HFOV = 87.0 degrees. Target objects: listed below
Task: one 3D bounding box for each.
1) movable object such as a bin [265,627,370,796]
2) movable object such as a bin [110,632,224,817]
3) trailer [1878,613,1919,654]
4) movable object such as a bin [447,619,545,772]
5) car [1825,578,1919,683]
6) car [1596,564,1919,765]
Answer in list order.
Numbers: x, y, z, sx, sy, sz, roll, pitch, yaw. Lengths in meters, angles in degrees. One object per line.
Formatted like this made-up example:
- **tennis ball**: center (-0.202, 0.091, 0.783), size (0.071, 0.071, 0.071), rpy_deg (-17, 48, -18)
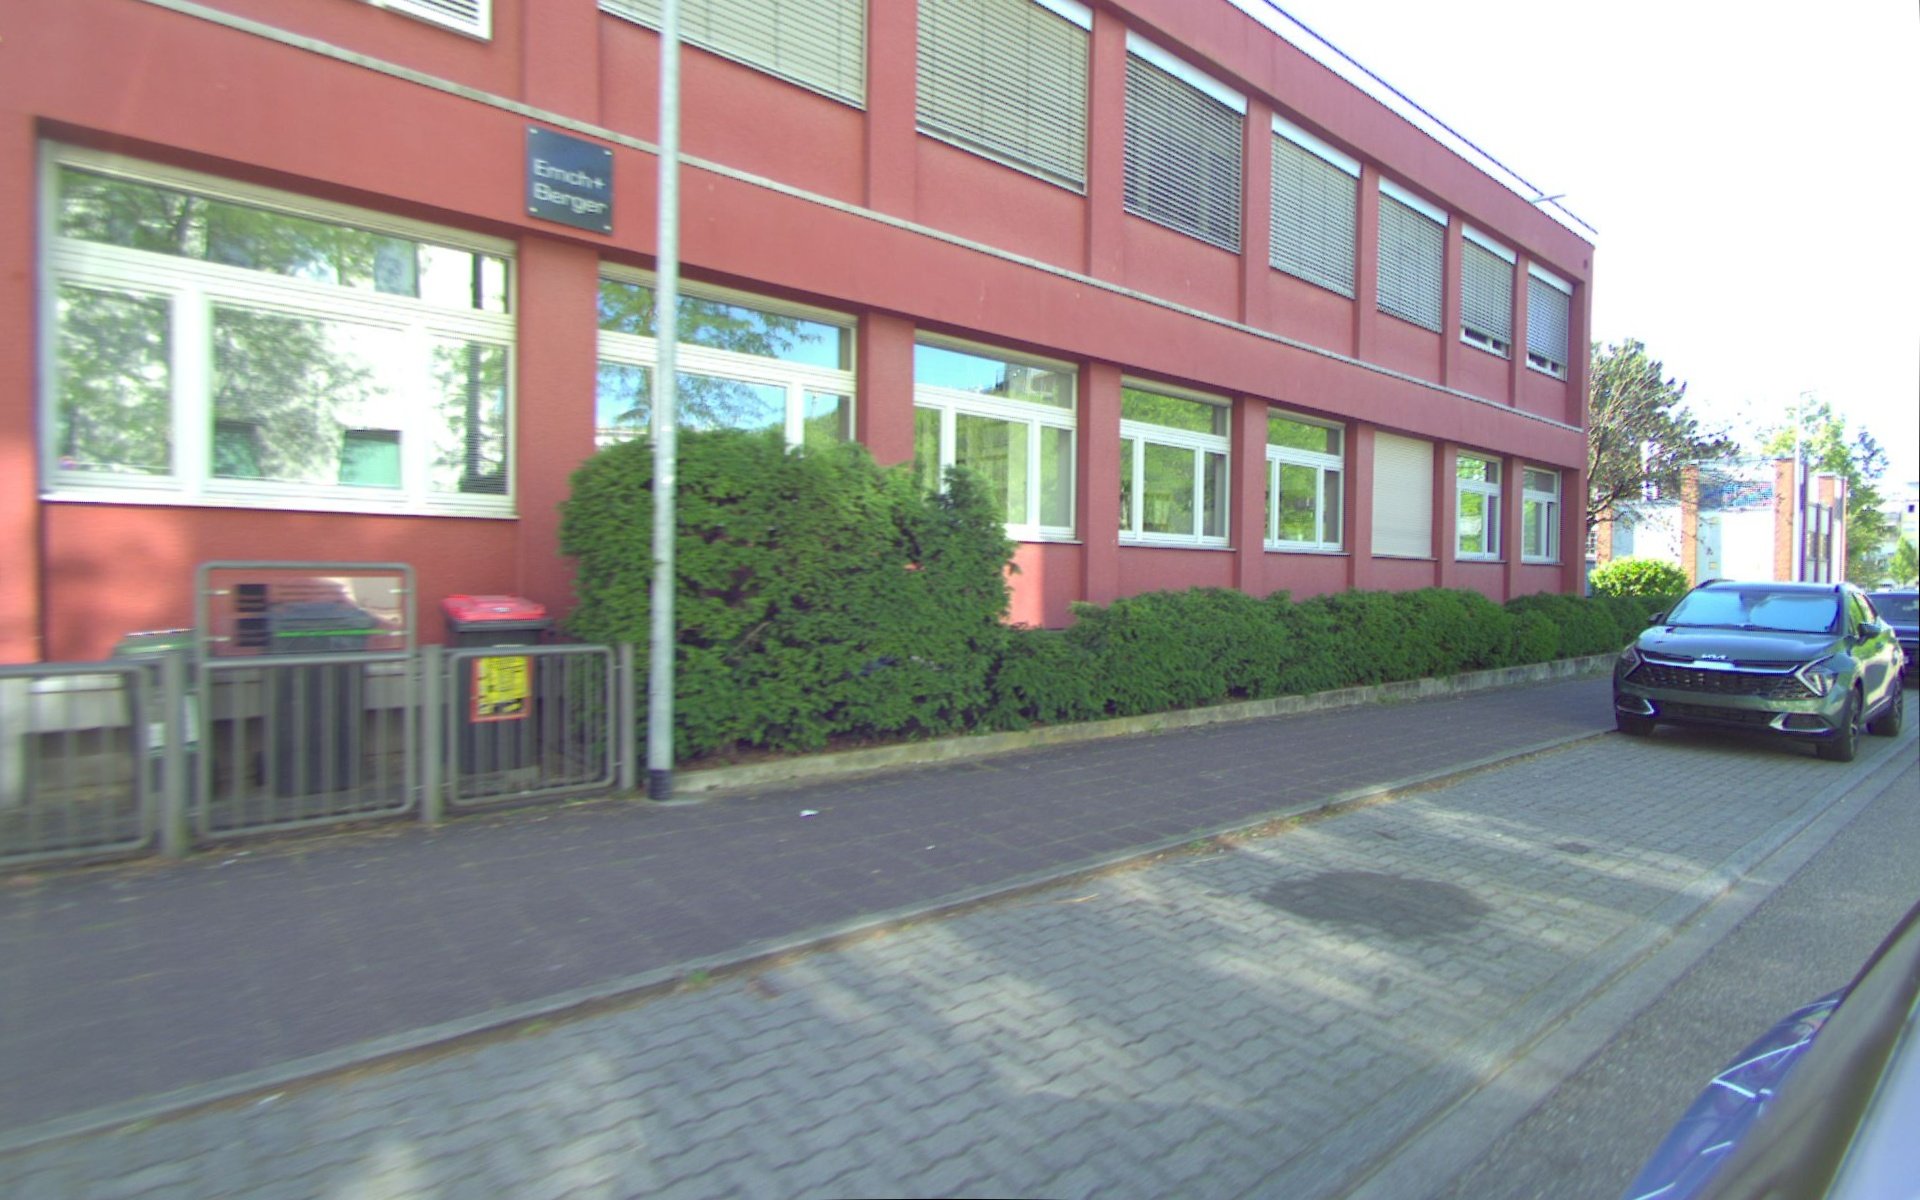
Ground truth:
- **movable object such as a bin**: center (-3.761, 0.625, 5.922), size (0.466, 0.912, 0.478), rpy_deg (0, 0, -39)
- **movable object such as a bin**: center (-4.286, 0.643, 5.480), size (0.466, 0.912, 0.478), rpy_deg (0, 0, -39)
- **trailer**: center (24.790, 0.855, 25.112), size (2.918, 0.938, 1.571), rpy_deg (1, 2, -14)
- **movable object such as a bin**: center (-2.970, 0.585, 6.478), size (0.466, 0.912, 0.478), rpy_deg (0, 0, -39)
- **car**: center (16.922, 0.488, 17.798), size (4.328, 1.650, 1.878), rpy_deg (0, 2, -40)
- **car**: center (8.485, 0.507, 10.546), size (4.295, 1.650, 1.903), rpy_deg (0, 2, -40)
